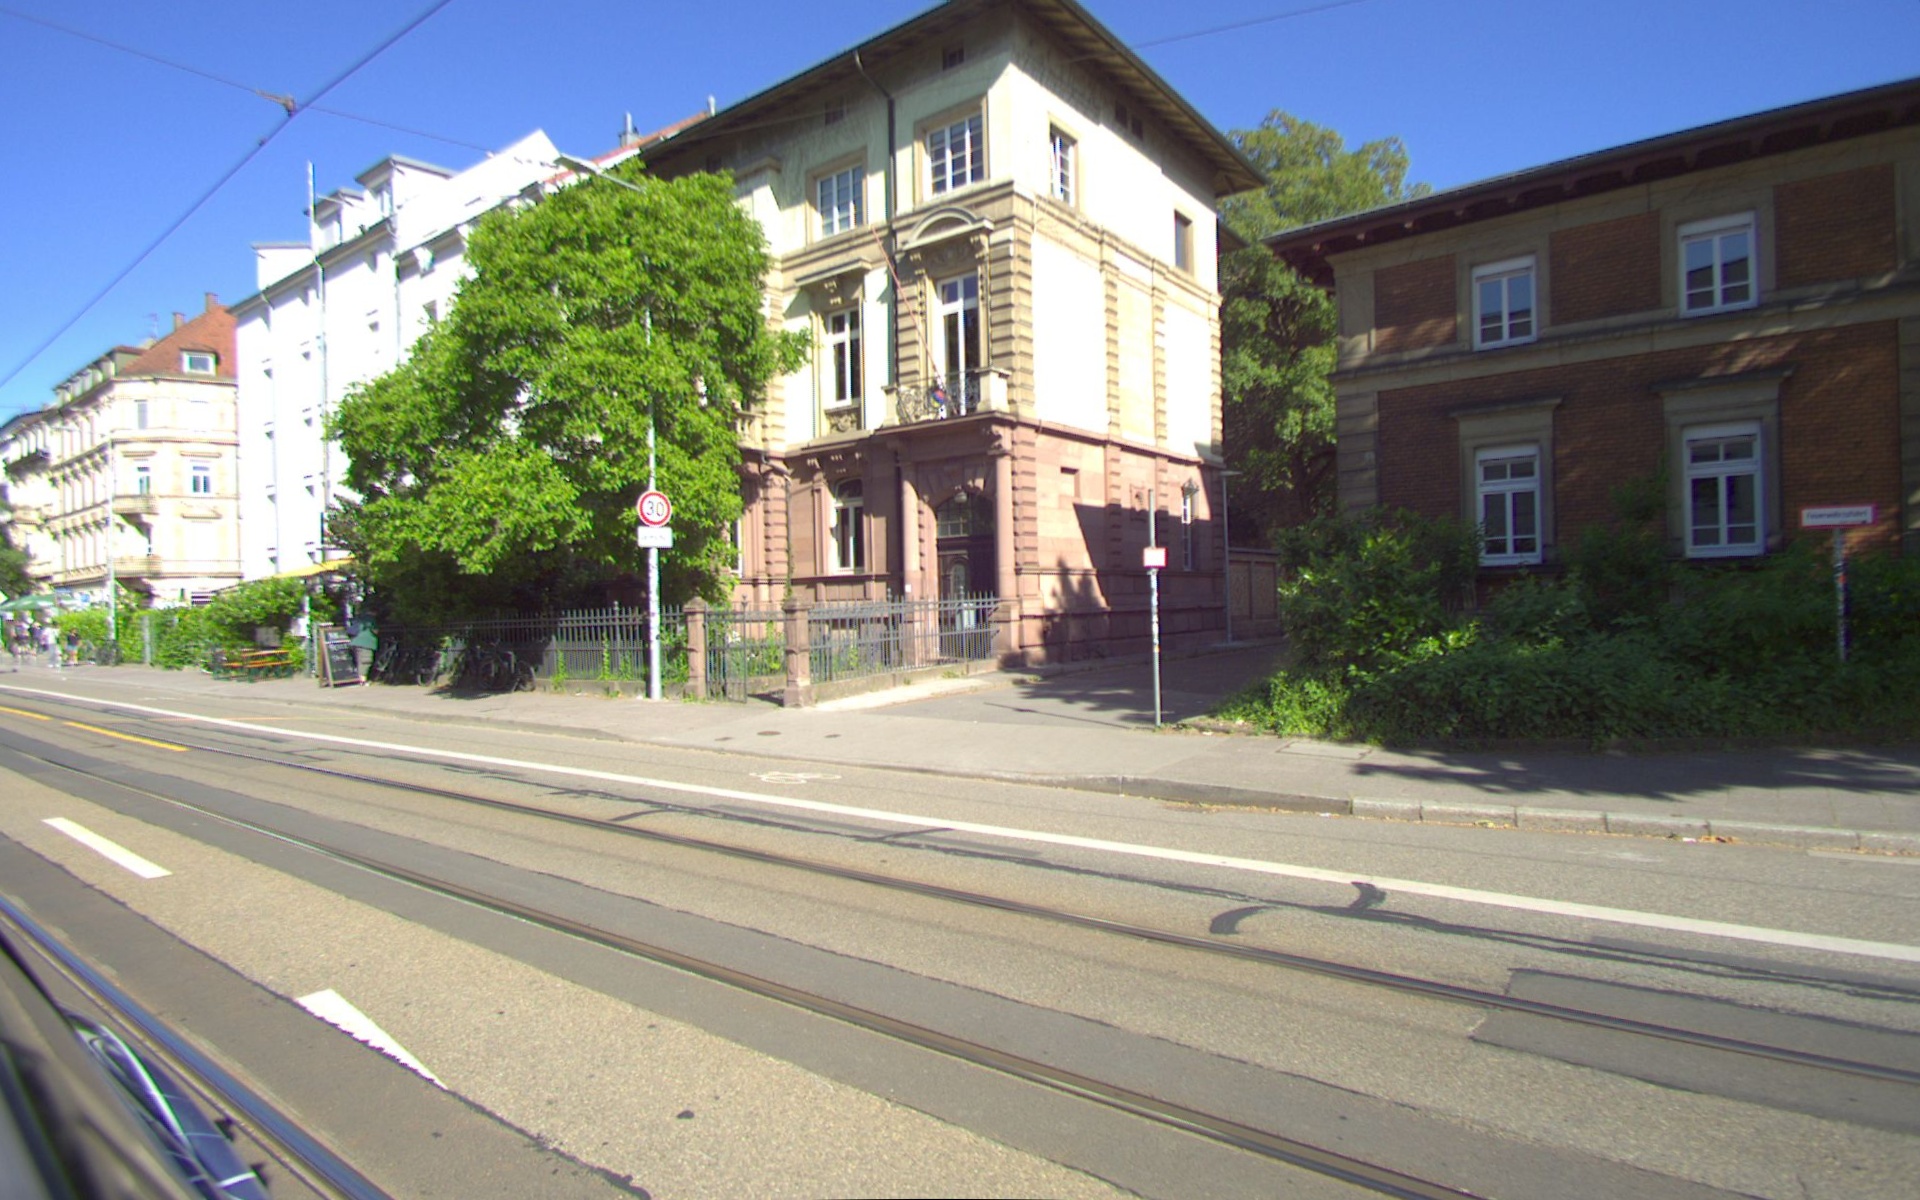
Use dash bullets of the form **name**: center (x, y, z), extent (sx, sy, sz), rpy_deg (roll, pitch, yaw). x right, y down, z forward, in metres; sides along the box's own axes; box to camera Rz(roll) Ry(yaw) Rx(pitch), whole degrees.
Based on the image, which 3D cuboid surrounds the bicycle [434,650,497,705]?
- **bicycle**: center (-10.304, 1.588, 21.060), extent (0.583, 1.053, 1.906), rpy_deg (-2, 0, -44)

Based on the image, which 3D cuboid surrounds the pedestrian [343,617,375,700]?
- **pedestrian**: center (-13.661, 1.314, 23.005), extent (0.568, 1.845, 0.691), rpy_deg (-1, -1, -33)

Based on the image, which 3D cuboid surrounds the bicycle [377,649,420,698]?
- **bicycle**: center (-13.117, 1.691, 23.633), extent (0.628, 1.053, 2.026), rpy_deg (-1, -1, -36)

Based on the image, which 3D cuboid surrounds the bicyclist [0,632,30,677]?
- **bicyclist**: center (-40.234, 2.301, 42.964), extent (0.695, 1.868, 0.988), rpy_deg (-1, 0, -9)

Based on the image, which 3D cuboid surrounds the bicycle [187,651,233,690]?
- **bicycle**: center (-22.175, 2.076, 29.918), extent (1.741, 1.067, 0.632), rpy_deg (-2, 1, 39)

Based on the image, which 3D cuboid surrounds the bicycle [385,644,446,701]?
- **bicycle**: center (-12.168, 1.593, 22.594), extent (0.638, 1.152, 1.906), rpy_deg (-4, 1, -44)

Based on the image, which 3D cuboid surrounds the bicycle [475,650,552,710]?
- **bicycle**: center (-8.700, 1.534, 19.677), extent (1.904, 1.053, 0.583), rpy_deg (-2, 1, 41)

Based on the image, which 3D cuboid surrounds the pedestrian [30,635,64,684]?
- **pedestrian**: center (-33.998, 2.212, 37.695), extent (0.807, 1.726, 0.747), rpy_deg (-2, 0, 38)

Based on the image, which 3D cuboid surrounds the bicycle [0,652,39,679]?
- **bicycle**: center (-40.243, 2.779, 43.026), extent (0.695, 1.063, 1.839), rpy_deg (-1, 0, -9)

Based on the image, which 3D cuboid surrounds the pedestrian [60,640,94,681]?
- **pedestrian**: center (-33.460, 2.285, 38.355), extent (0.955, 1.489, 0.747), rpy_deg (-2, 0, 38)

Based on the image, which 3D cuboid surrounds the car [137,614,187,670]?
- **car**: center (-43.136, 2.206, 54.774), extent (1.861, 2.862, 4.795), rpy_deg (0, 0, -35)

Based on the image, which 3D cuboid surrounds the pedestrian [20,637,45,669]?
- **pedestrian**: center (-49.328, 2.815, 53.833), extent (0.694, 1.667, 0.835), rpy_deg (-1, 0, -21)

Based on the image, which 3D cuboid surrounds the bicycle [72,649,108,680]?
- **bicycle**: center (-33.198, 2.451, 38.606), extent (1.838, 1.097, 0.655), rpy_deg (-1, 2, 38)

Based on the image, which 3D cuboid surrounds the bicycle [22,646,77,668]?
- **bicycle**: center (-50.364, 3.134, 55.987), extent (2.213, 1.052, 0.876), rpy_deg (-1, 0, -43)

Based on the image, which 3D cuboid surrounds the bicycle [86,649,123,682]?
- **bicycle**: center (-31.588, 2.398, 37.365), extent (1.838, 1.097, 0.655), rpy_deg (-1, 2, 38)
